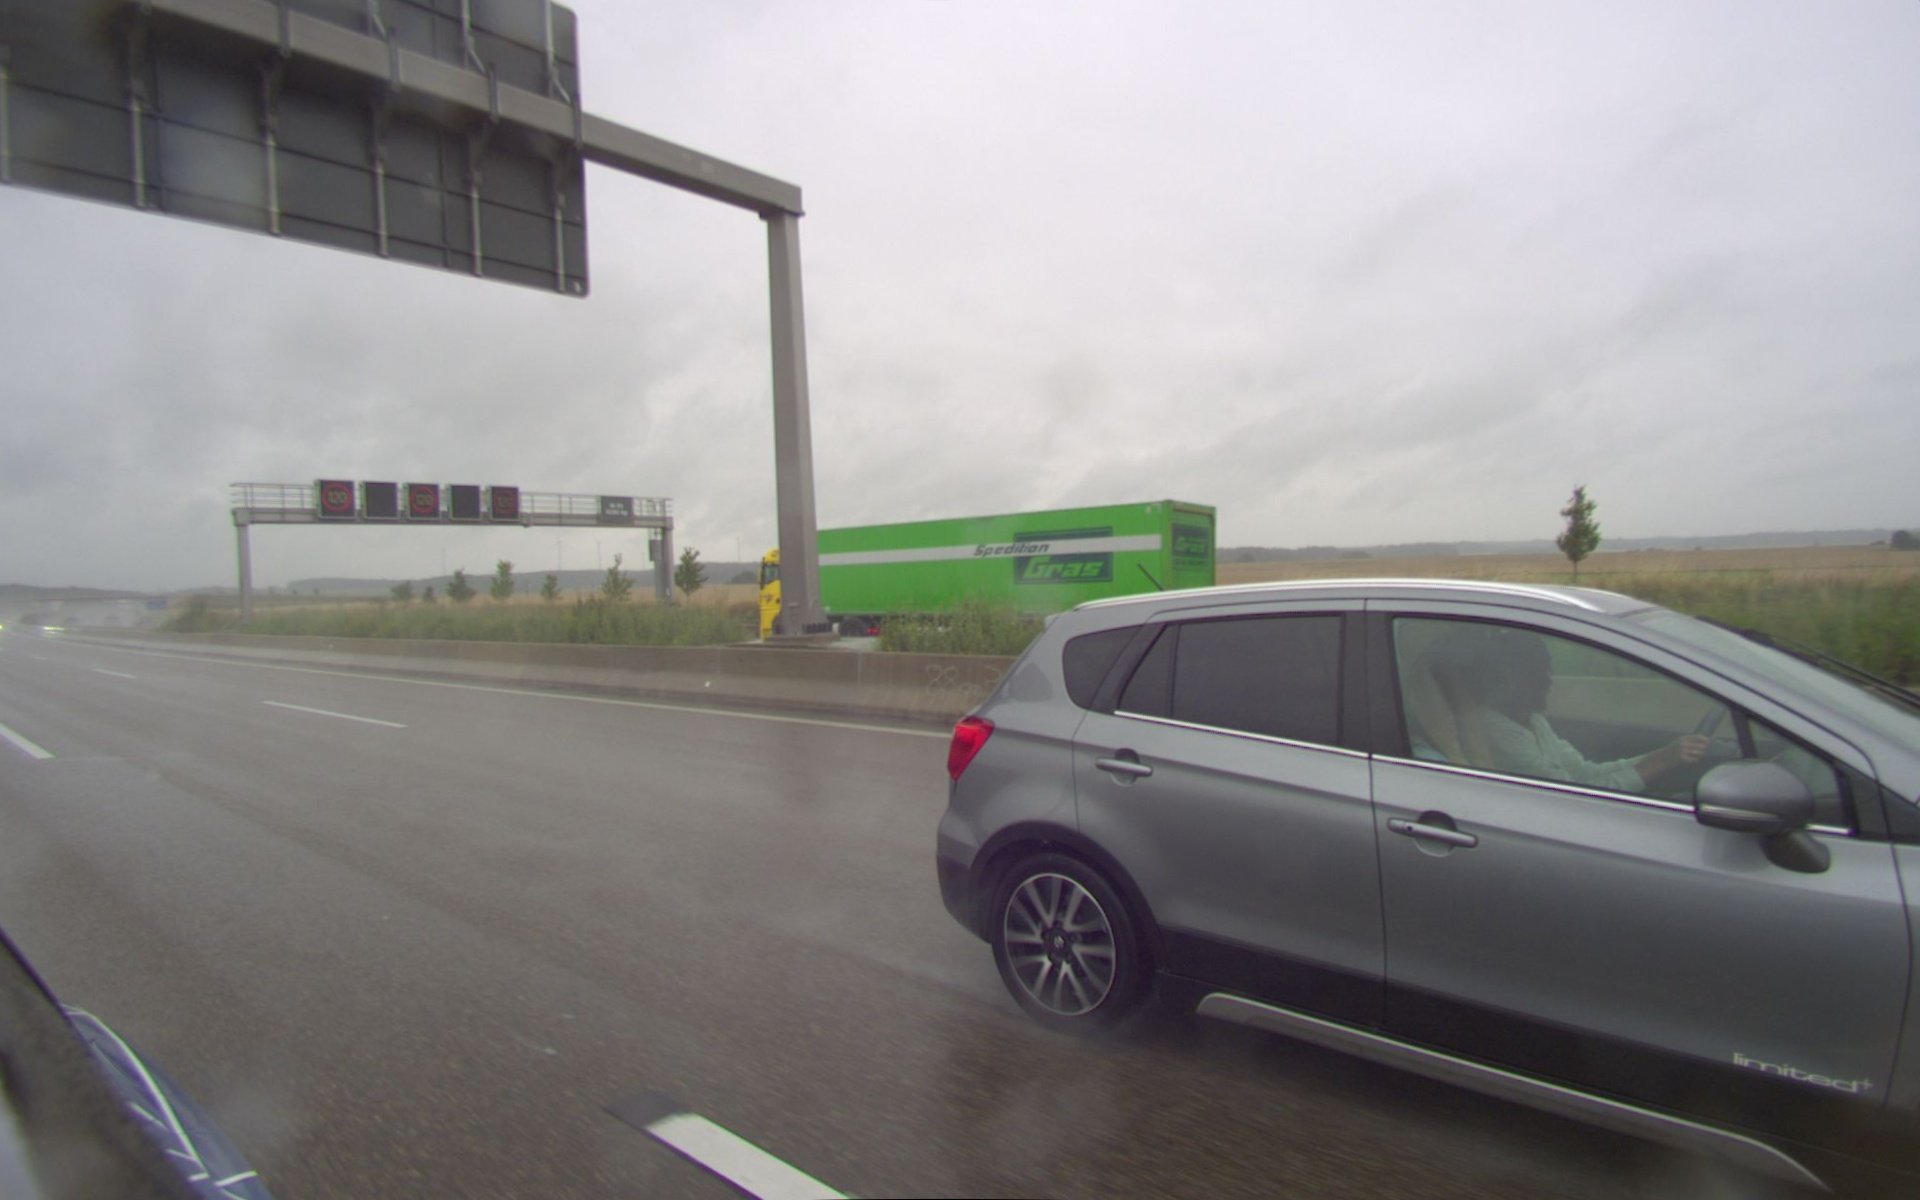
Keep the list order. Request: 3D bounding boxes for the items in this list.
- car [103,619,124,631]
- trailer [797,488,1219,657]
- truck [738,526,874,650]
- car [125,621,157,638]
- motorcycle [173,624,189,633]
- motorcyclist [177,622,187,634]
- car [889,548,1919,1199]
[{"bbox_3d":[-109.645,3.222,131.071,4.001,1.497,1.676,-2,-1,44],"label":"car"},{"bbox_3d":[0.588,-0.533,29.830,14.296,4.070,1.973,-1,-1,41],"label":"trailer"},{"bbox_3d":[-5.412,-0.357,35.167,4.818,4.021,1.988,-1,-1,42],"label":"truck"},{"bbox_3d":[-84.751,3.000,104.750,4.444,1.696,1.972,-1,0,43],"label":"car"},{"bbox_3d":[-87.323,3.187,113.420,3.546,0.920,0.908,-2,-1,44],"label":"motorcycle"},{"bbox_3d":[-86.843,3.163,112.985,0.941,1.318,0.740,-1,0,43],"label":"motorcyclist"},{"bbox_3d":[2.131,0.661,2.830,4.754,1.524,1.827,-1,0,41],"label":"car"}]
